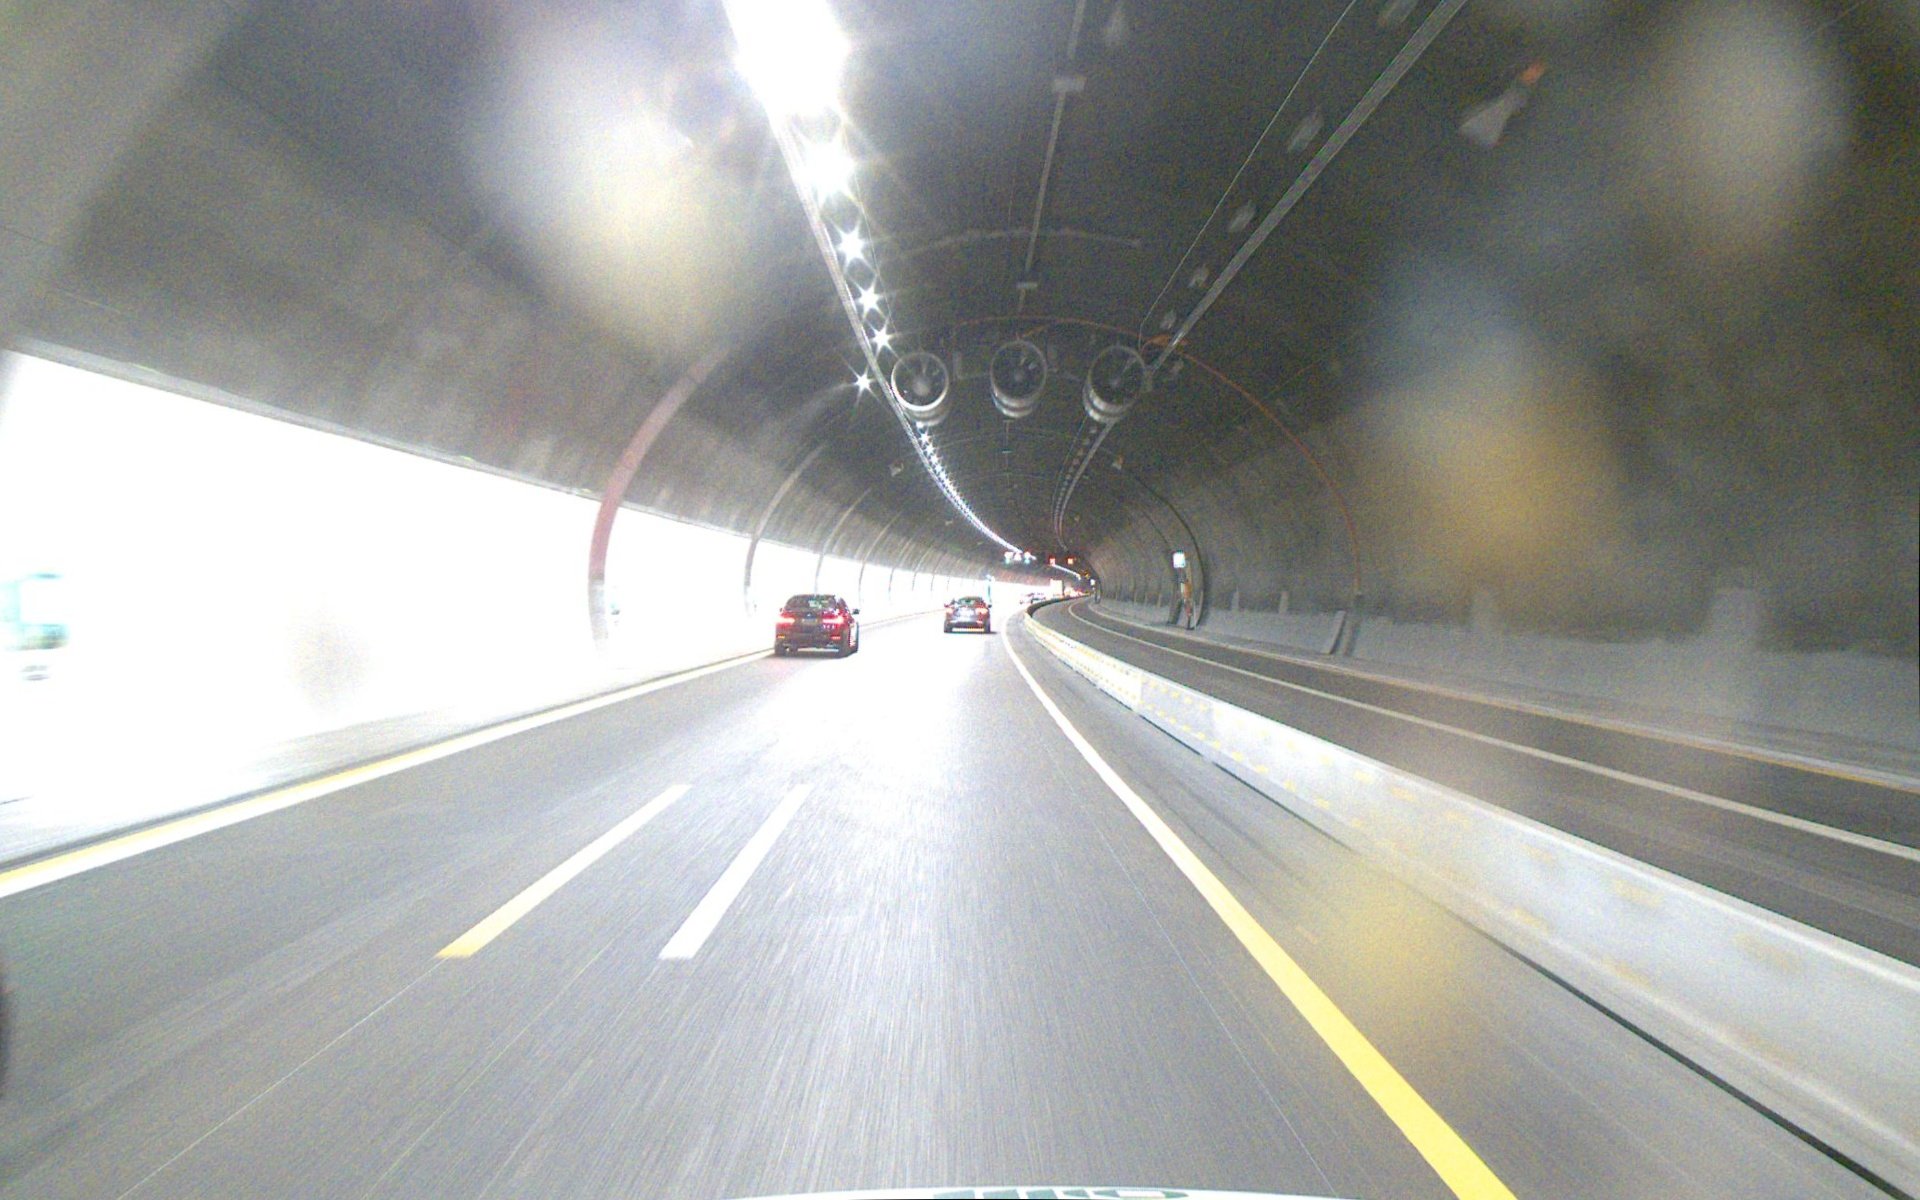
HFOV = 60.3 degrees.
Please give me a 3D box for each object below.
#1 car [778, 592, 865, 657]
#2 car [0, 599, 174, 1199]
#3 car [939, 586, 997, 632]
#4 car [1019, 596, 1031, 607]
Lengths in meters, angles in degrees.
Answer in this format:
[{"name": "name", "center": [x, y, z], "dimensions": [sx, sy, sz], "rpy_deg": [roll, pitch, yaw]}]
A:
[{"name": "car", "center": [-3.350, 0.552, 40.716], "dimensions": [1.742, 1.463, 4.882], "rpy_deg": [1, 0, -1]}, {"name": "car", "center": [-3.102, 0.733, 2.254], "dimensions": [1.742, 1.463, 4.882], "rpy_deg": [1, 0, -1]}, {"name": "car", "center": [0.358, 0.324, 65.830], "dimensions": [2.096, 1.735, 4.001], "rpy_deg": [1, 0, 3]}, {"name": "car", "center": [8.741, 0.214, 222.151], "dimensions": [1.561, 1.356, 3.752], "rpy_deg": [1, 0, 4]}]
